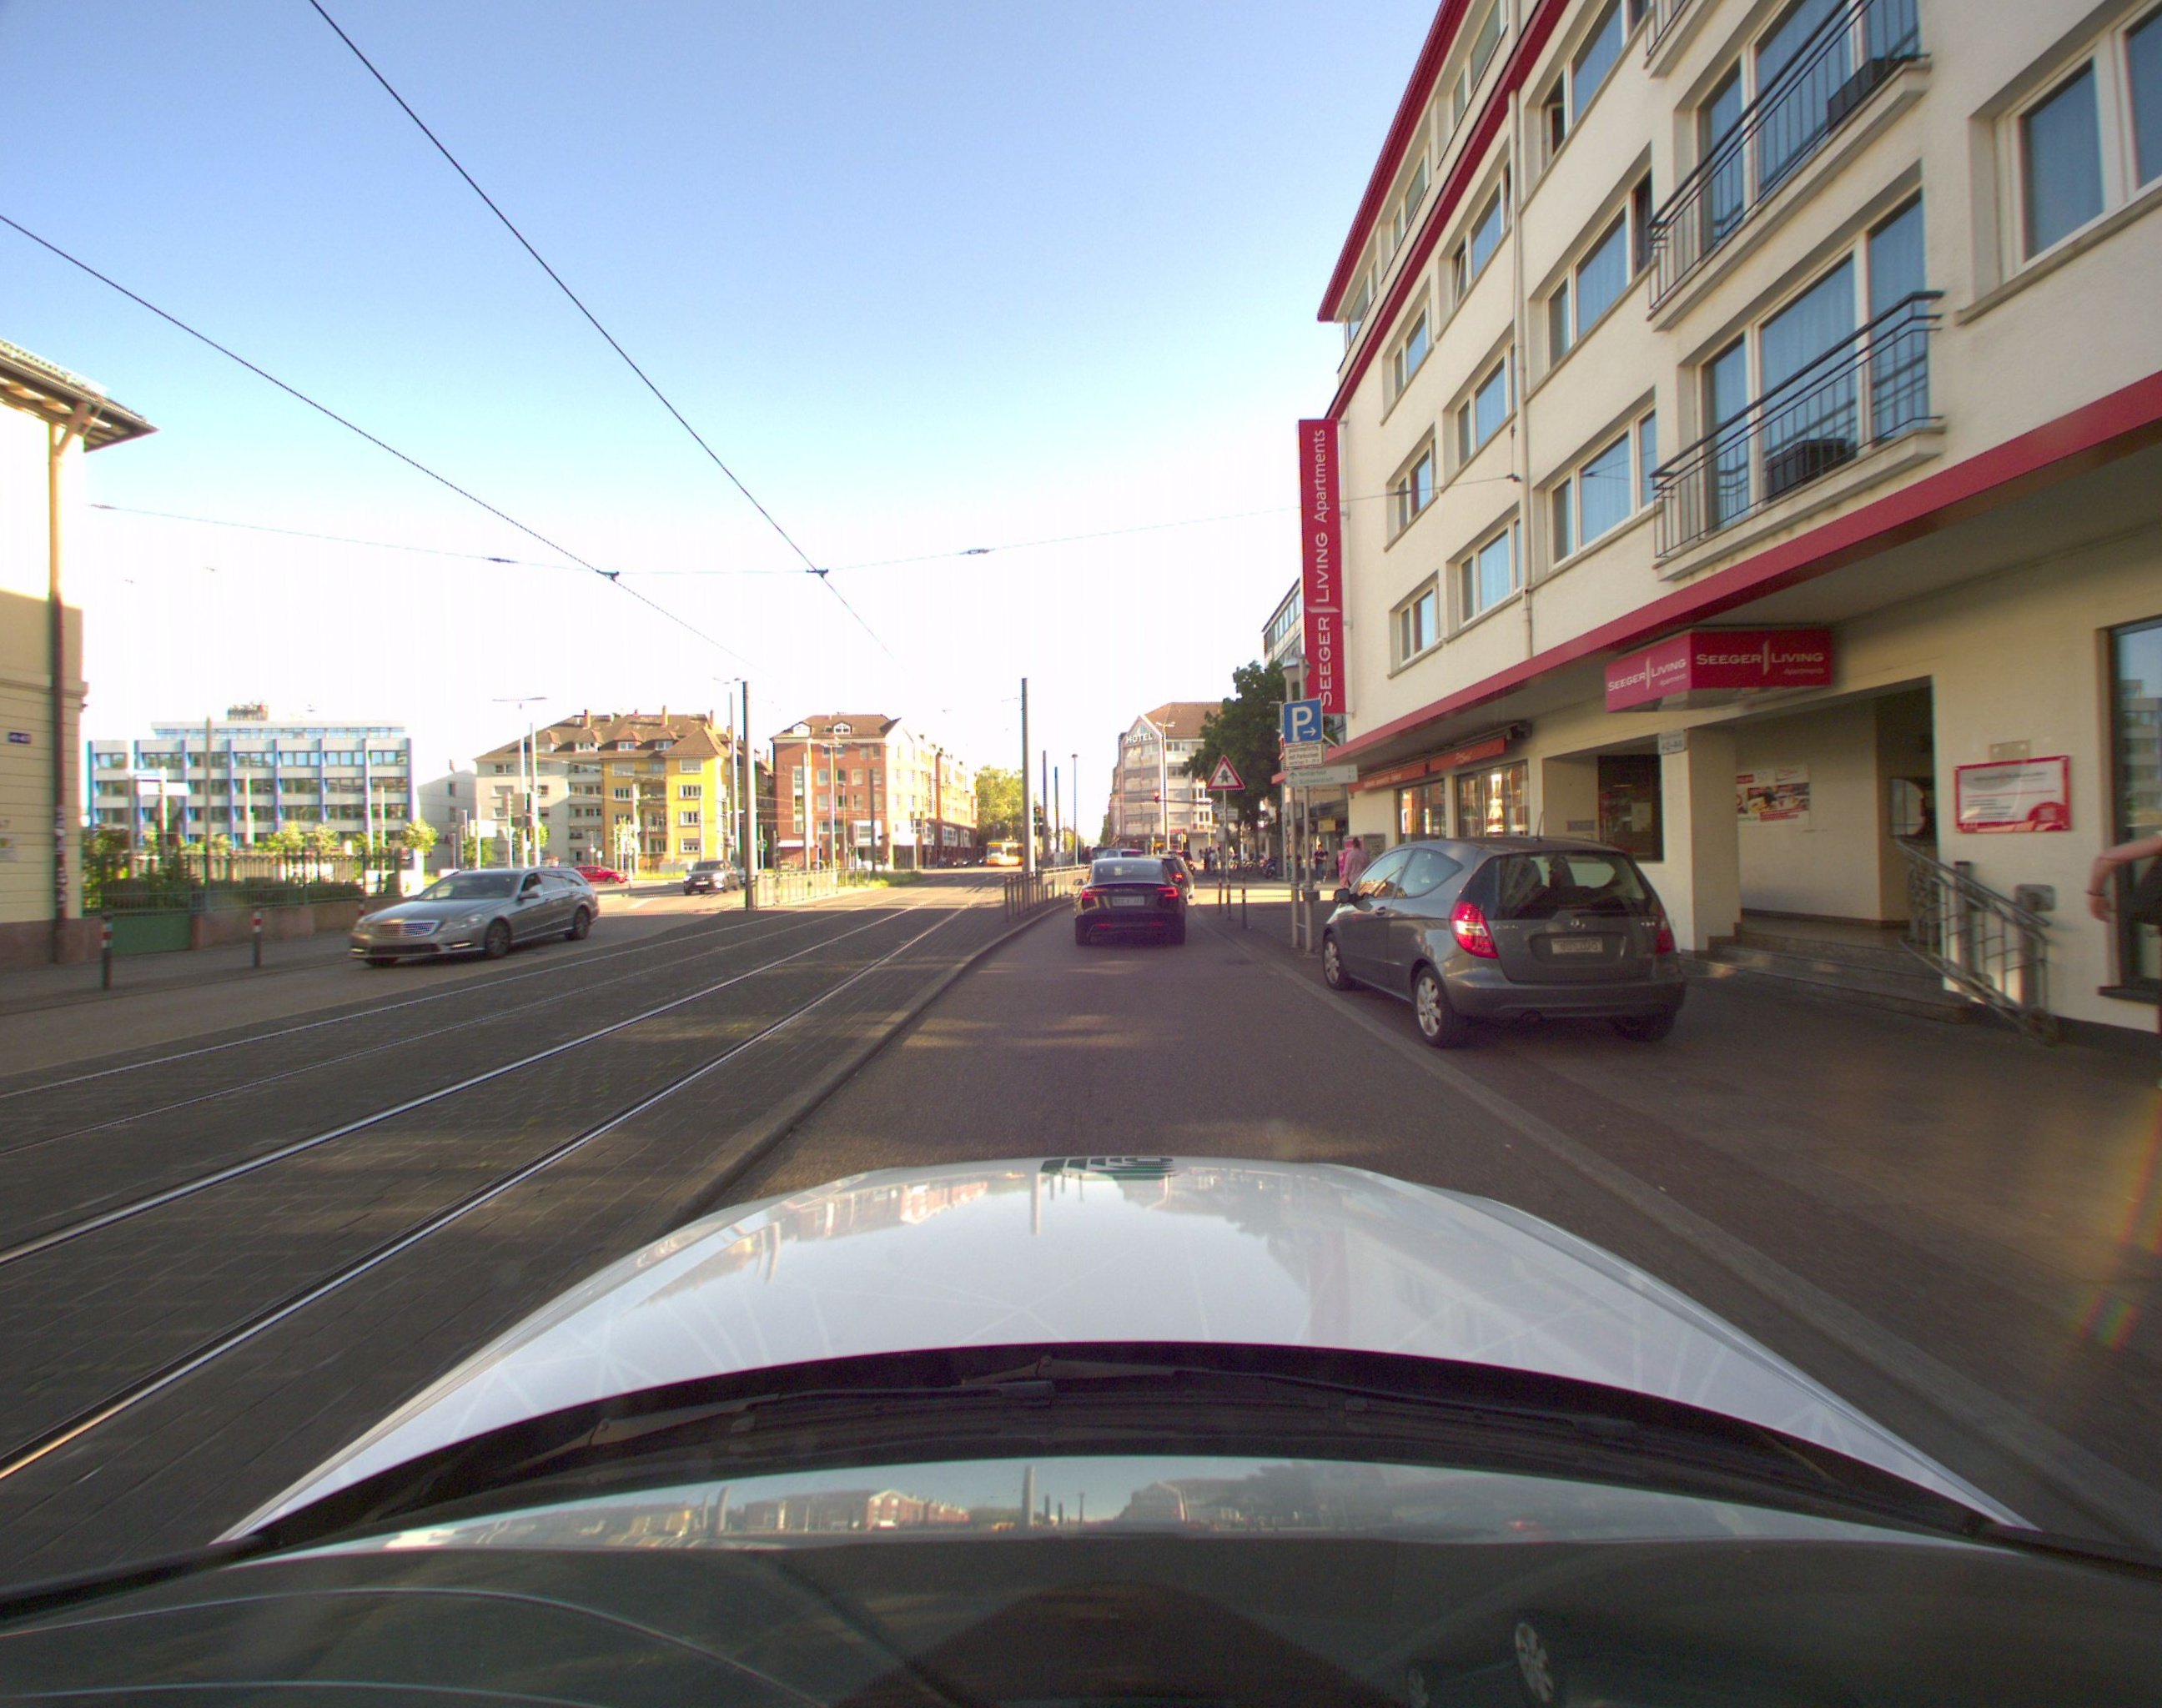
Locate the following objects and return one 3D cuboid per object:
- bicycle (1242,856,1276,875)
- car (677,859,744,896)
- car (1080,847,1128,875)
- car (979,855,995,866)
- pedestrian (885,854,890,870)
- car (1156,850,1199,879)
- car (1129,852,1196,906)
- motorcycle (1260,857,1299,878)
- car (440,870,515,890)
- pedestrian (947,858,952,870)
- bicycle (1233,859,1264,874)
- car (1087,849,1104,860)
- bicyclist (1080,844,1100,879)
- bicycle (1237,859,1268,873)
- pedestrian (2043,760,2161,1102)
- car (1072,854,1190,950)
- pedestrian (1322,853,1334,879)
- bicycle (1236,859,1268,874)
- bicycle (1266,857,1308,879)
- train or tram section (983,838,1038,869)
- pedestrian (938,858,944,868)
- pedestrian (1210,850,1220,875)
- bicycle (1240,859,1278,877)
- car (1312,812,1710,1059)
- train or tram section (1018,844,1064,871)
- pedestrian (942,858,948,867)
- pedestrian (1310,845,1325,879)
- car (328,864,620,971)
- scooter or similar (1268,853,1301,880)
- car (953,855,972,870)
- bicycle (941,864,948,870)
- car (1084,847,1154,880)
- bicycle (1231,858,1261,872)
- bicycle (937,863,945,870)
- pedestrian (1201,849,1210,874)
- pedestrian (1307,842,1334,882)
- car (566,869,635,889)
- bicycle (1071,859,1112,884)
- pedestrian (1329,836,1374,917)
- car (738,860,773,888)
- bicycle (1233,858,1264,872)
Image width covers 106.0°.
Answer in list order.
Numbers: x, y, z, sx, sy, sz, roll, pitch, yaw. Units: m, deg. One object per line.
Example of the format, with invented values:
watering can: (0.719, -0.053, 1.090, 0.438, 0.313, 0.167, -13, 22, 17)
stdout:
bicycle: (10.644, 0.707, 48.645, 1.917, 1.097, 0.555, -1, -1, 2)
car: (-16.312, 0.993, 36.057, 1.766, 1.512, 4.262, -1, 0, -12)
car: (1.249, 0.411, 46.474, 1.825, 1.519, 4.201, 1, 0, -11)
car: (-13.900, 0.923, 120.736, 1.744, 1.651, 4.001, 1, 0, 2)
pedestrian: (-24.606, 0.997, 103.369, 0.565, 2.014, 0.349, 1, -1, -14)
car: (5.453, 0.588, 46.561, 1.820, 1.519, 3.644, 1, 0, -4)
car: (2.503, 0.670, 24.240, 1.643, 1.418, 4.012, 1, 1, 11)
motorcycle: (10.806, 0.734, 44.469, 1.984, 1.128, 0.596, 1, -1, 1)
car: (-45.749, 1.963, 61.829, 4.143, 1.490, 1.933, 0, 0, -8)
pedestrian: (-19.255, 1.446, 119.557, 0.710, 1.667, 0.563, 1, -1, -8)
bicycle: (10.796, 0.798, 52.547, 1.917, 0.950, 0.526, -1, -1, 2)
car: (2.023, 0.123, 111.777, 1.984, 1.420, 4.005, 1, 0, 4)
bicyclist: (0.396, 0.320, 35.909, 0.835, 1.500, 0.559, 1, -1, -7)
bicycle: (11.244, 0.809, 53.539, 1.917, 0.888, 0.526, -1, -1, 2)
pedestrian: (6.012, 0.393, 4.480, 0.796, 1.774, 0.938, -2, -1, 44)
car: (0.795, 0.761, 14.614, 1.843, 1.484, 3.787, 0, 0, 0)
pedestrian: (12.326, 0.595, 40.569, 0.418, 1.280, 0.531, -2, -1, 3)
bicycle: (10.800, 0.807, 51.531, 1.917, 0.950, 0.526, -1, -1, 2)
bicycle: (10.710, 0.705, 42.410, 2.043, 1.121, 0.483, -1, -1, 2)
train or tram section: (-8.996, -0.008, 105.930, 2.655, 3.715, 14.244, 0, 0, 14)
pedestrian: (-19.424, 1.221, 112.997, 0.708, 1.342, 0.666, -1, 0, 1)
pedestrian: (8.656, 0.525, 52.622, 0.626, 1.613, 0.644, 0, 0, 5)
bicycle: (10.177, 0.785, 46.590, 2.043, 0.982, 0.483, -1, -1, 2)
car: (3.468, 0.554, 7.422, 1.739, 1.632, 3.650, -2, 0, 2)
train or tram section: (-5.694, 0.542, 120.381, 2.618, 3.718, 15.439, 0, 0, 13)
pedestrian: (-19.371, 1.247, 115.655, 0.693, 1.308, 0.564, -2, 0, 0)
pedestrian: (11.725, 0.401, 40.412, 0.592, 1.641, 0.466, -2, -1, 3)
car: (-10.500, 0.980, 14.692, 1.877, 1.495, 4.920, -2, 0, -5)
scooter or similar: (10.025, 0.612, 40.046, 1.415, 1.317, 0.691, -1, -2, -24)
car: (-17.089, 1.181, 117.762, 1.986, 2.013, 4.002, -1, 0, 2)
bicycle: (-19.364, 1.820, 115.581, 0.699, 0.855, 2.054, -2, 0, 1)
car: (1.797, 0.444, 39.985, 1.791, 1.519, 4.185, 1, 0, -24)
bicycle: (11.255, 0.760, 55.636, 1.917, 0.890, 0.526, -1, -1, 2)
bicycle: (-19.410, 1.712, 113.066, 0.699, 0.855, 2.054, -2, 0, 1)
pedestrian: (8.366, 0.487, 54.689, 0.559, 1.683, 0.751, 0, 0, 6)
pedestrian: (10.466, 0.350, 35.557, 1.009, 1.742, 0.524, 1, -1, -24)
car: (-37.261, 1.911, 63.218, 4.143, 1.490, 1.933, 0, 0, -8)
bicycle: (0.452, 0.768, 35.933, 1.726, 1.088, 0.676, 1, -1, -7)
pedestrian: (5.750, 0.466, 17.283, 0.810, 1.683, 0.718, 0, -1, 24)
car: (-20.338, 1.213, 50.971, 1.788, 1.568, 4.264, -2, 0, -19)
bicycle: (11.230, 0.748, 54.610, 1.917, 0.890, 0.526, -1, -1, 2)
